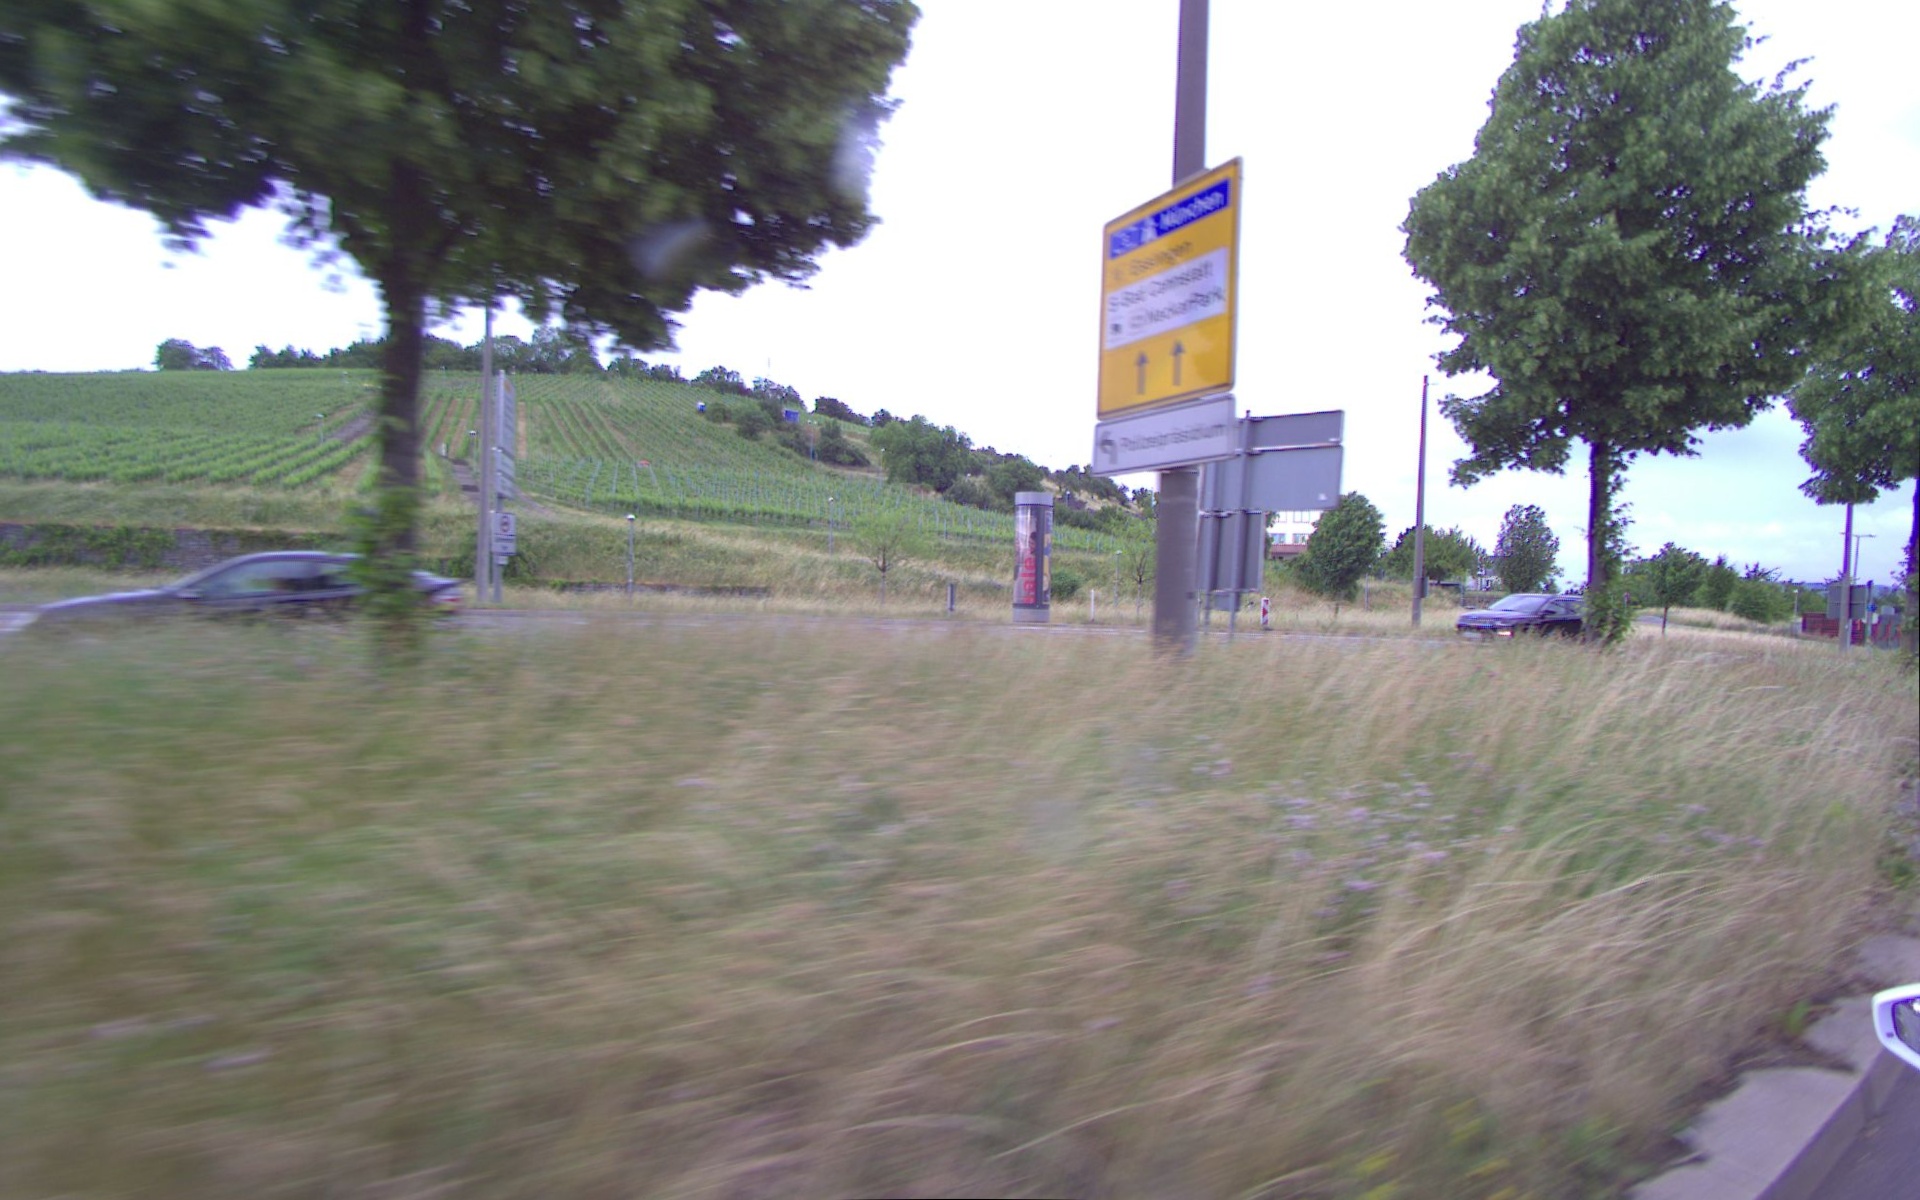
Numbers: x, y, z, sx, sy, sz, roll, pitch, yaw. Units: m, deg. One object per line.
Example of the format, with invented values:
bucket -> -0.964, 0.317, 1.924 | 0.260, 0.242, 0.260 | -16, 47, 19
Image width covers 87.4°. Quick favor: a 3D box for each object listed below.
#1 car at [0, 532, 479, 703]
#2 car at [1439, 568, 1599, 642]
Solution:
car -> -8.038, 0.198, 11.658 | 4.305, 1.676, 1.870 | 2, 1, -29
car -> 14.528, 0.148, 26.083 | 3.950, 1.773, 1.760 | 2, 1, -28
